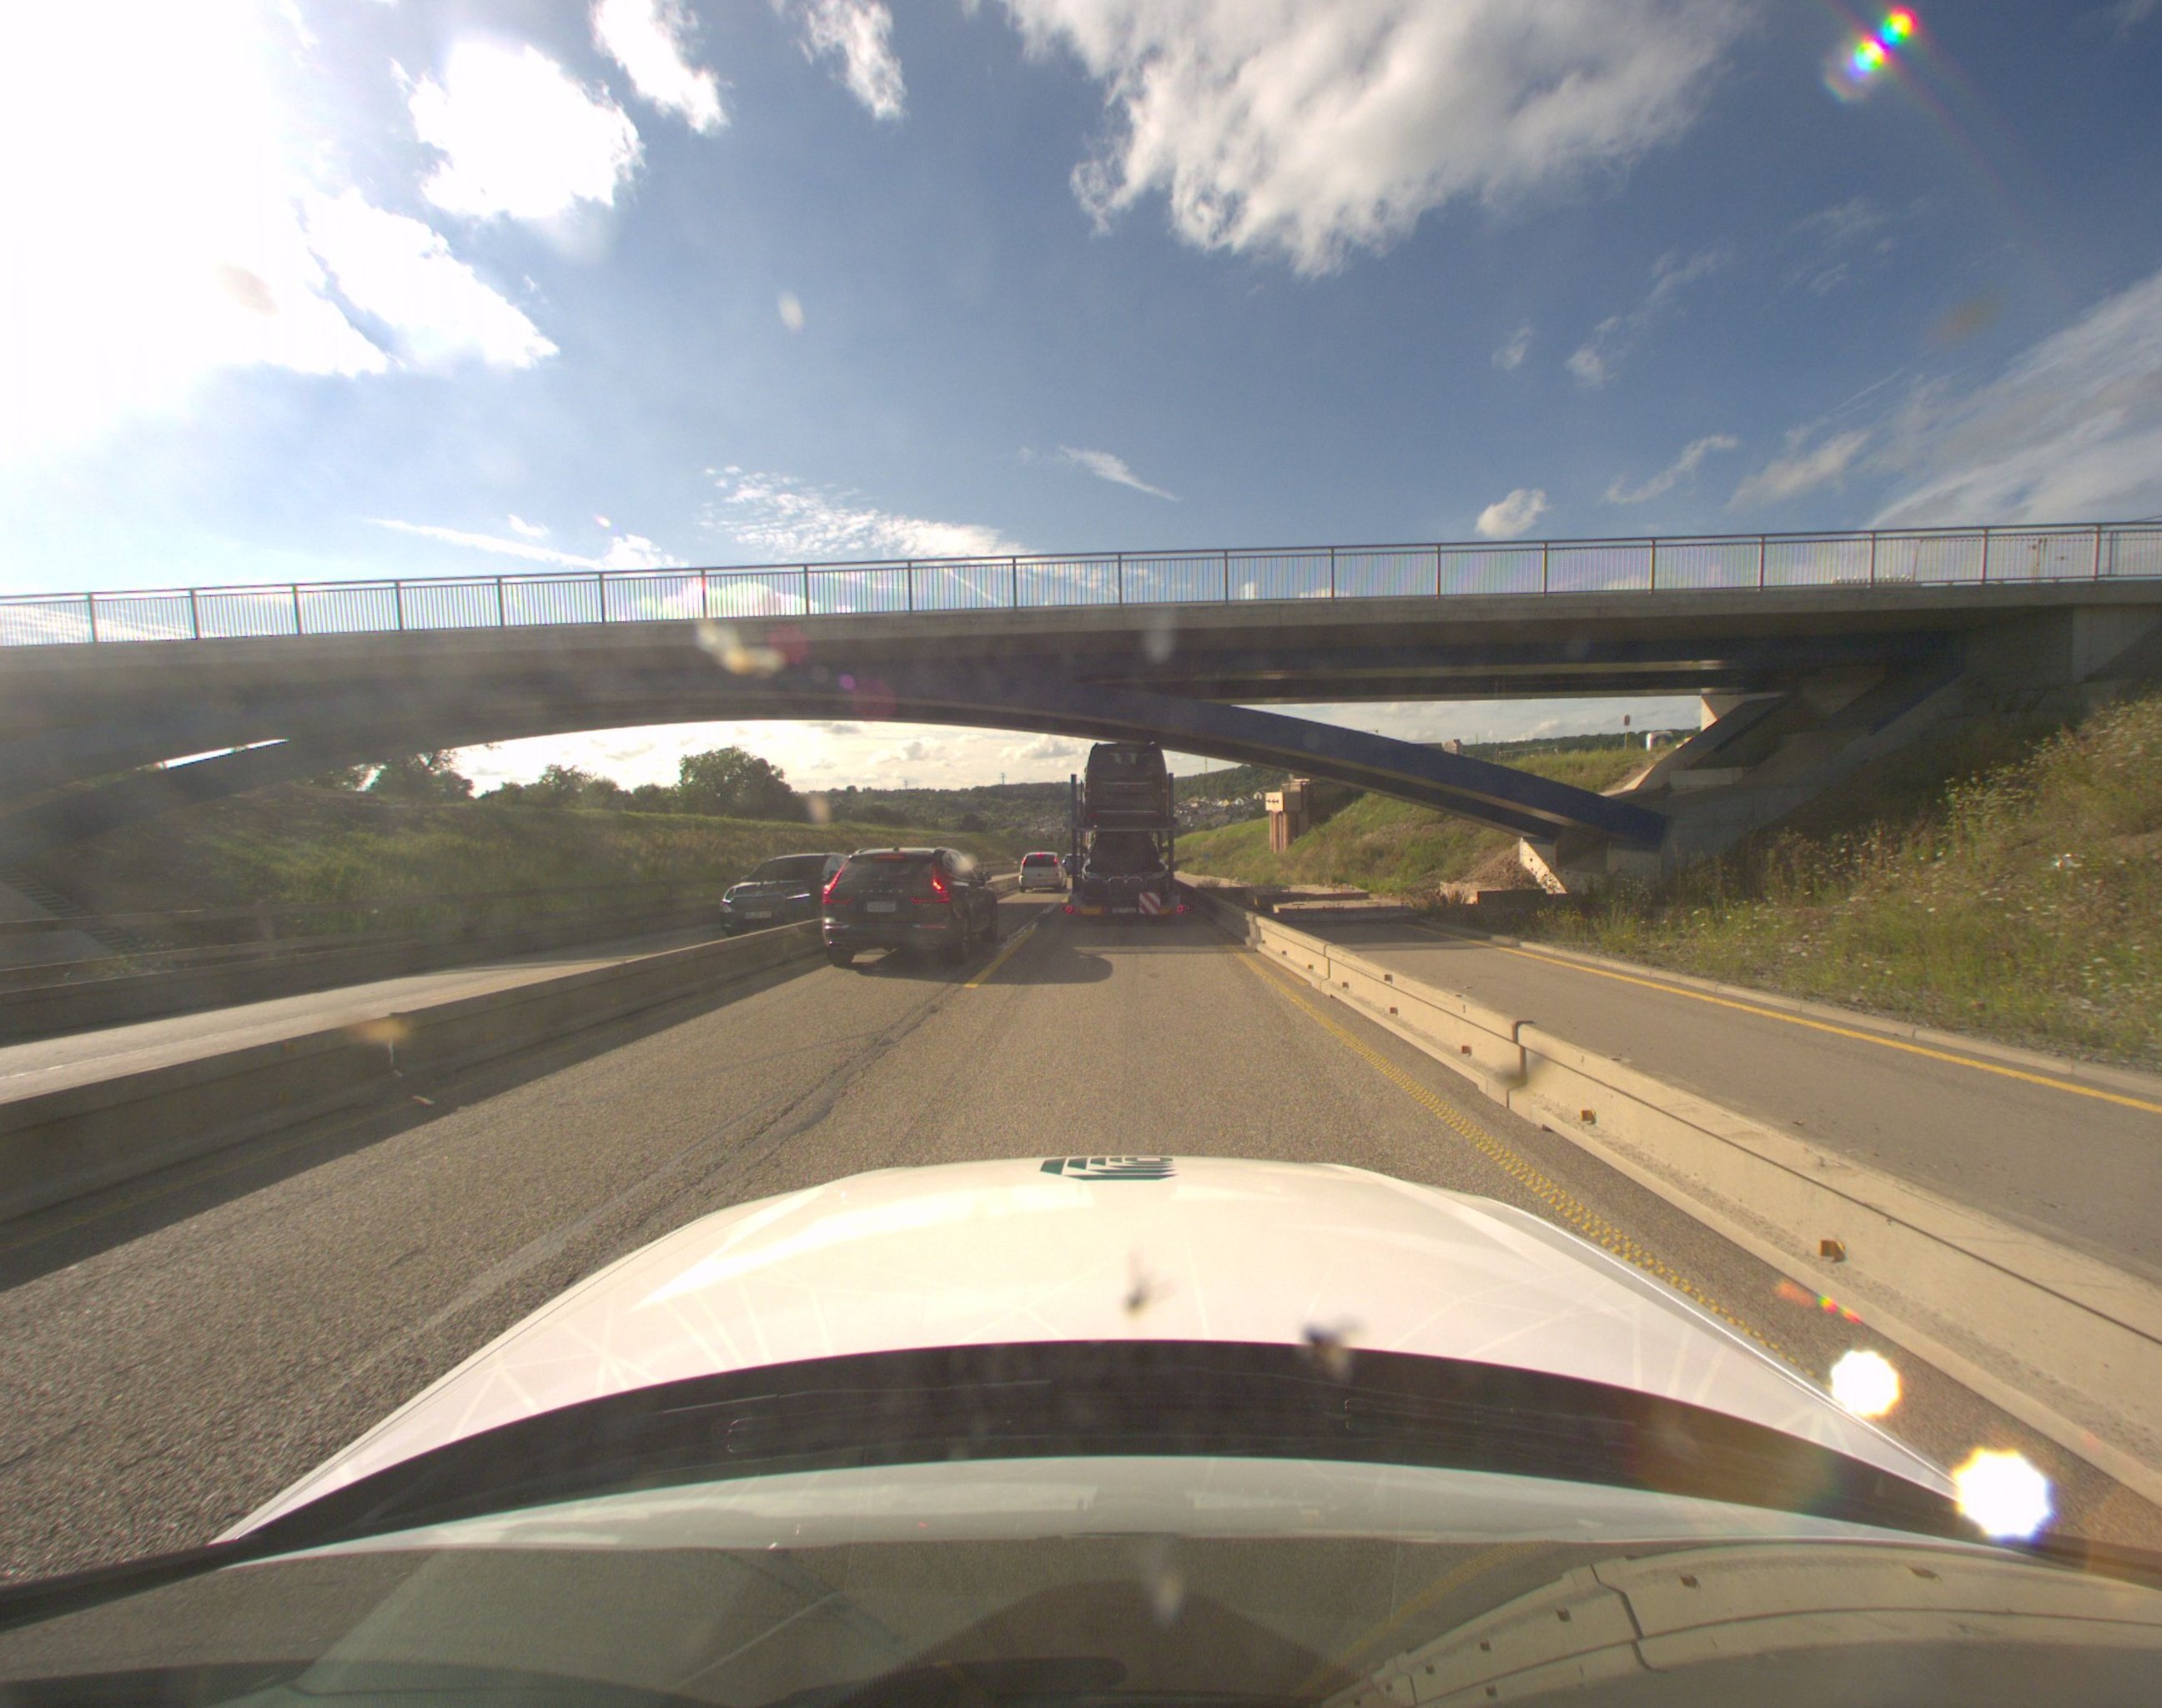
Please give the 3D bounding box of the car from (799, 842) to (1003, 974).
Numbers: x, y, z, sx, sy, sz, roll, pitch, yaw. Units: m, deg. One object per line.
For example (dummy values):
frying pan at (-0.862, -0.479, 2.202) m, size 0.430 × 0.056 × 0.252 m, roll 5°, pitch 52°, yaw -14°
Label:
car at (-2.509, 0.670, 12.675) m, size 1.986 × 1.625 × 4.751 m, roll -1°, pitch 0°, yaw 1°

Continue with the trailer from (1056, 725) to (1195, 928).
trailer at (1.092, -0.538, 22.077) m, size 2.698 × 4.029 × 11.424 m, roll -1°, pitch 0°, yaw 2°

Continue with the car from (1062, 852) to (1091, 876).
car at (-0.254, 0.641, 54.283) m, size 1.789 × 1.530 × 4.297 m, roll -1°, pitch 0°, yaw 1°

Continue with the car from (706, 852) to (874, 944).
car at (-5.896, 0.815, 17.132) m, size 1.816 × 1.563 × 4.219 m, roll -4°, pitch 0°, yaw 2°

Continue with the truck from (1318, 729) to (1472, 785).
truck at (20.975, -6.487, 54.817) m, size 9.228 × 3.228 × 2.961 m, roll -1°, pitch 0°, yaw 2°

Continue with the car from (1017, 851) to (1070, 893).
car at (-1.470, 0.677, 33.218) m, size 1.789 × 1.596 × 4.744 m, roll -1°, pitch 0°, yaw 2°

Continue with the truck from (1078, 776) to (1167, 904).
truck at (1.380, -0.418, 28.266) m, size 2.668 × 3.922 × 6.030 m, roll -1°, pitch 0°, yaw 2°
